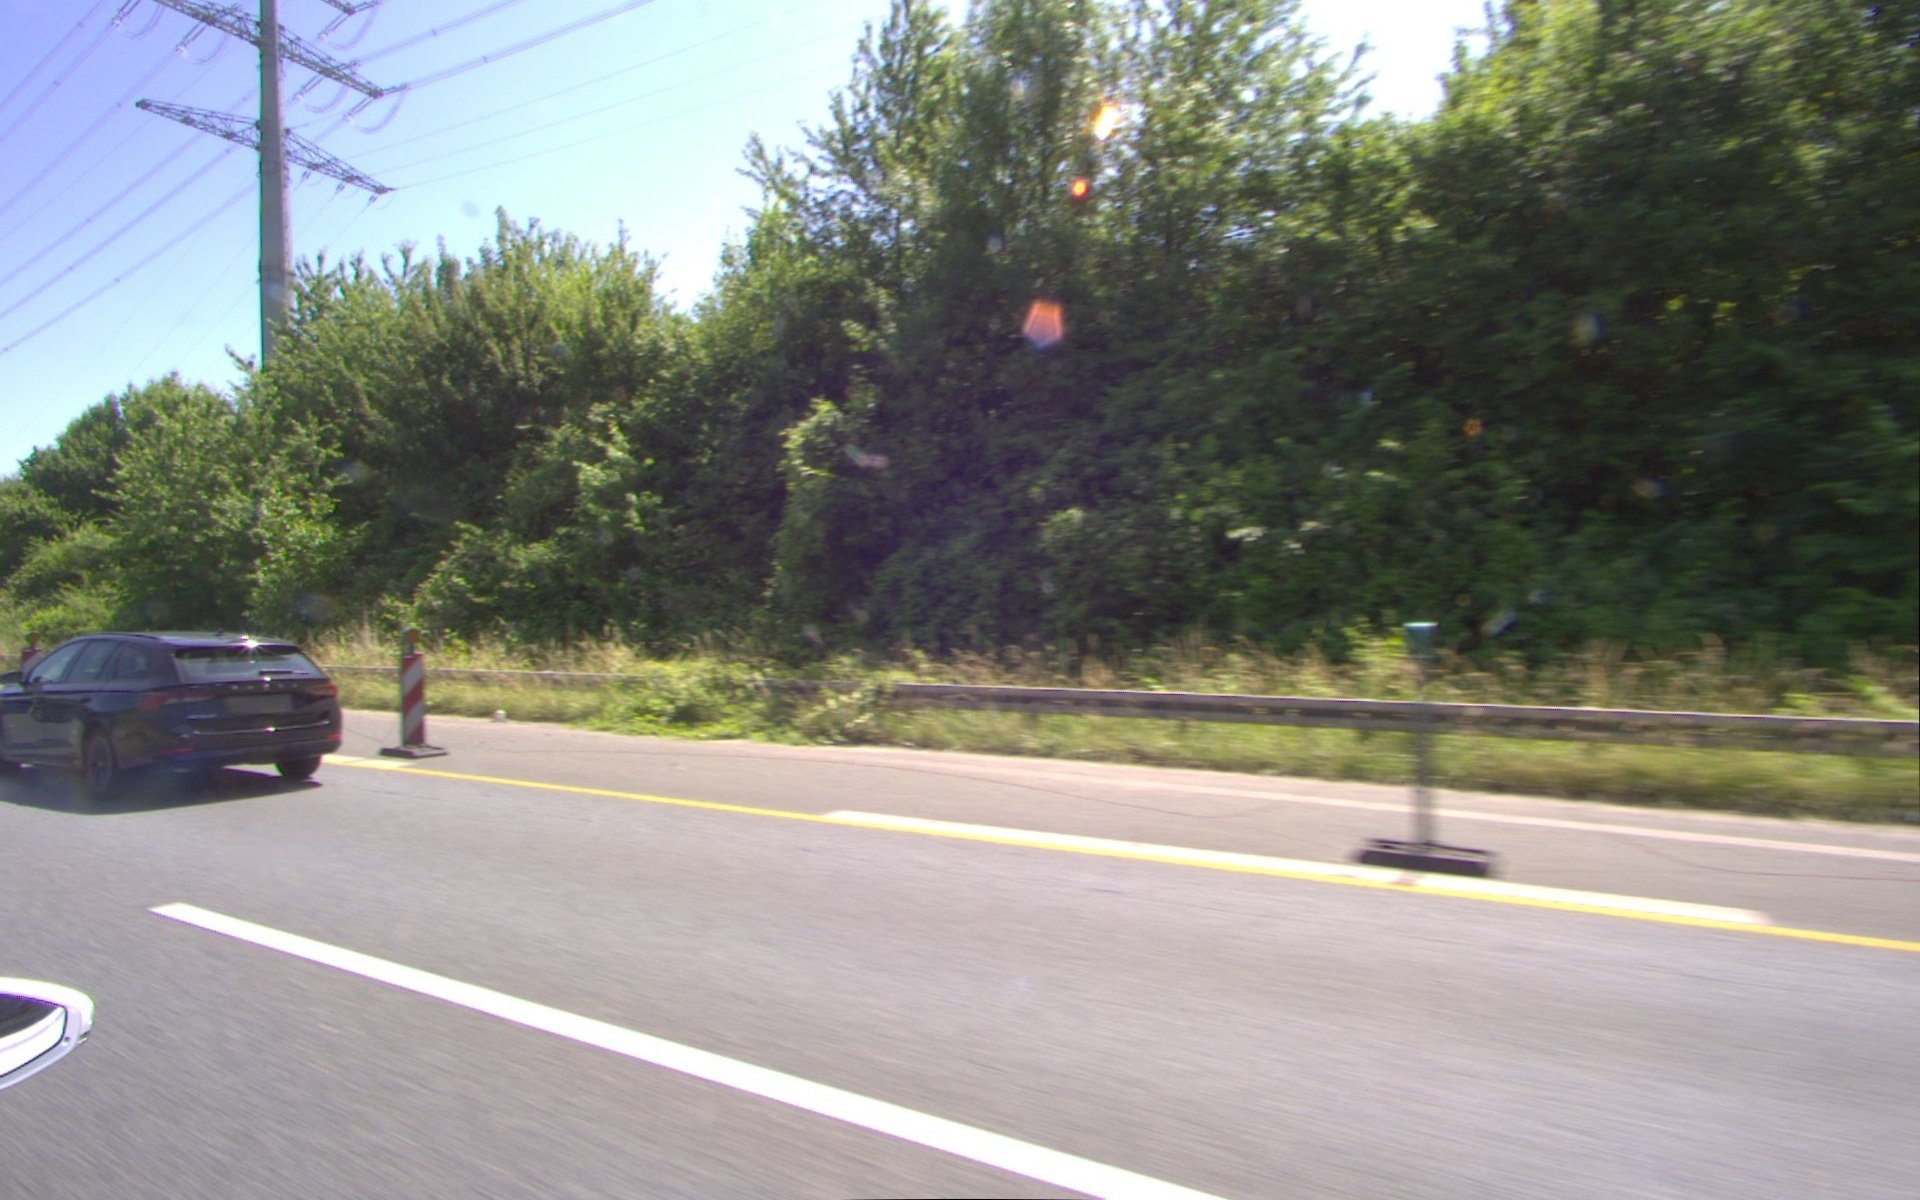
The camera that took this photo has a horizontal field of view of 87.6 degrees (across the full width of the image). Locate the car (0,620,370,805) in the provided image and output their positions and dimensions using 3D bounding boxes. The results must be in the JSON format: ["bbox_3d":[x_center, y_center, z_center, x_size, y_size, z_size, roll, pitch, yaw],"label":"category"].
[{"bbox_3d":[-8.068,0.987,10.092,4.398,1.508,1.777,-1,-2,31],"label":"car"}]
